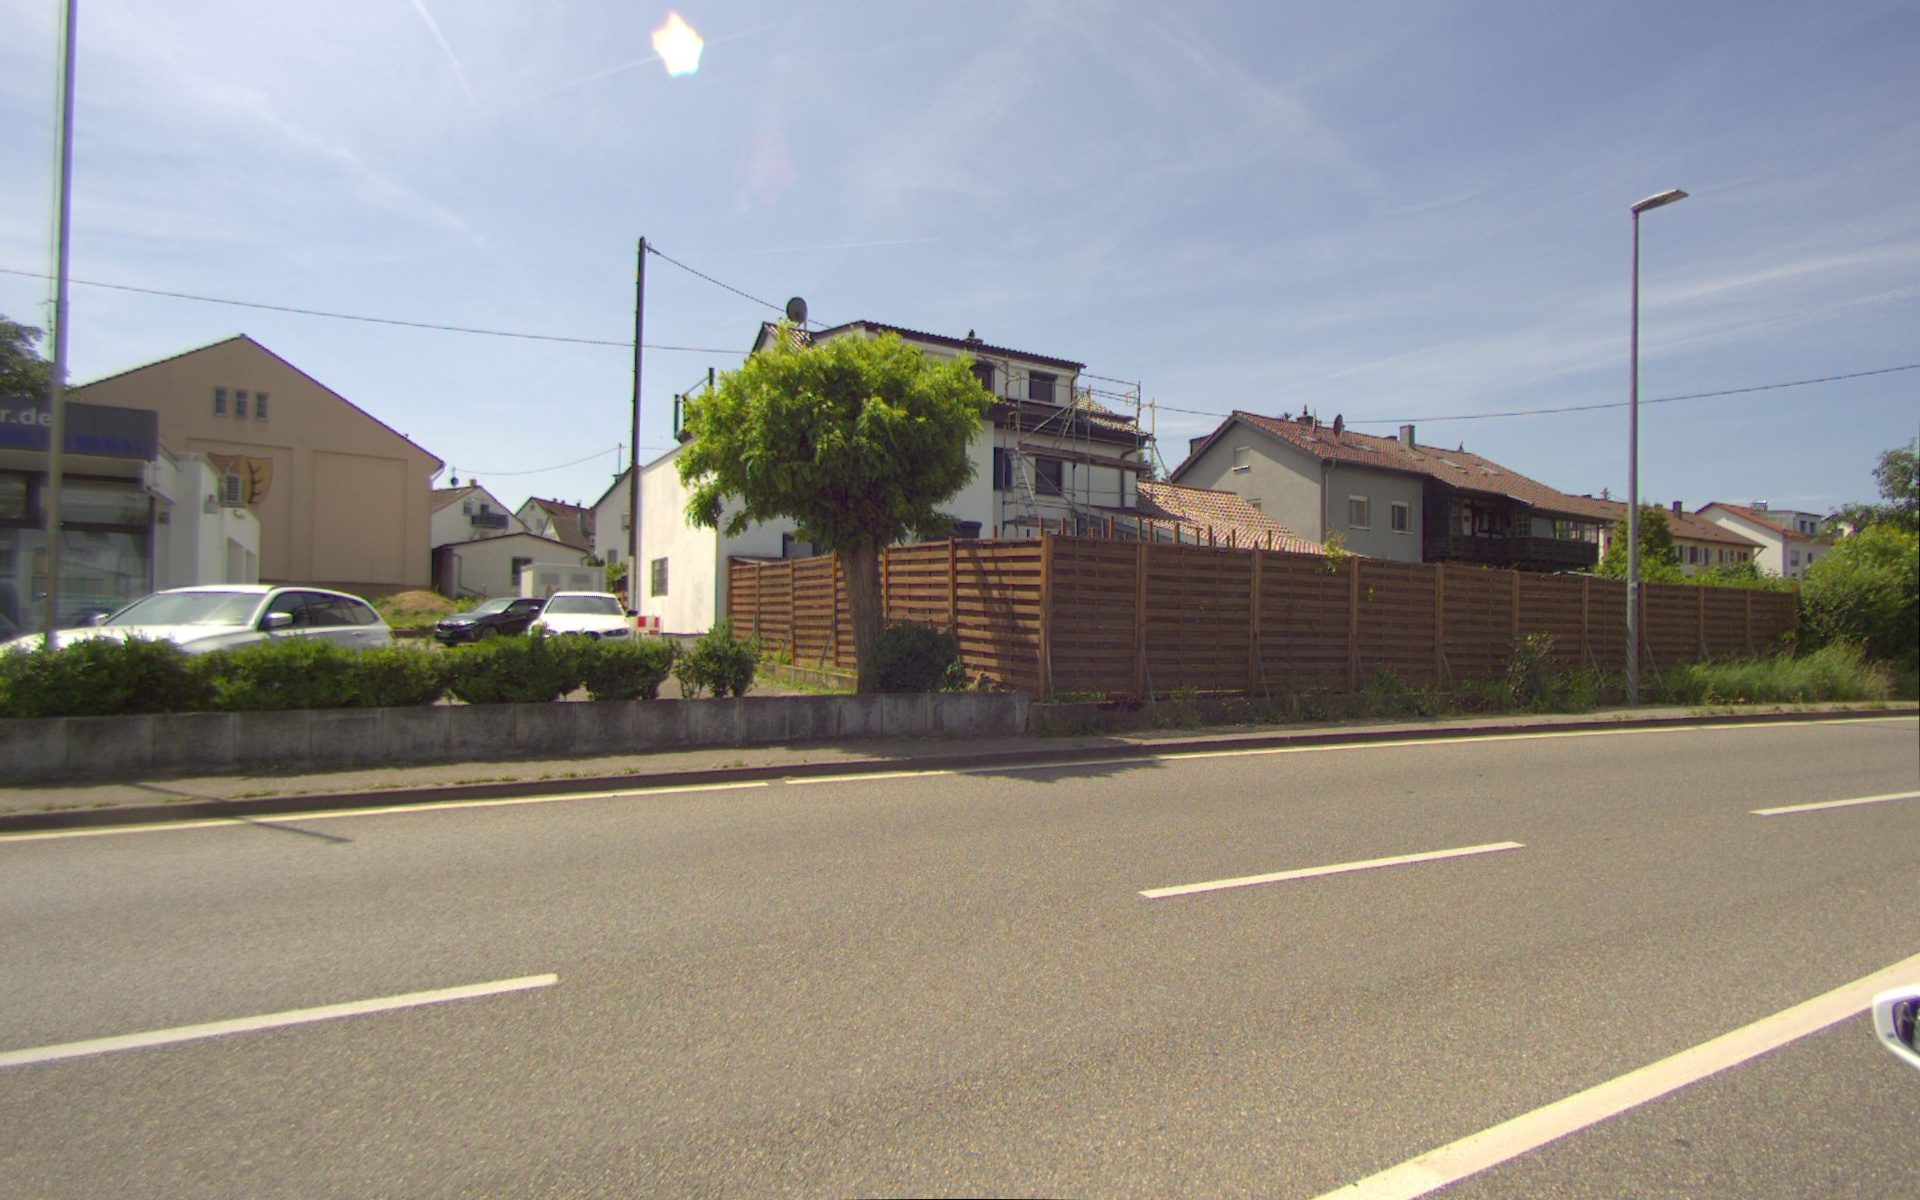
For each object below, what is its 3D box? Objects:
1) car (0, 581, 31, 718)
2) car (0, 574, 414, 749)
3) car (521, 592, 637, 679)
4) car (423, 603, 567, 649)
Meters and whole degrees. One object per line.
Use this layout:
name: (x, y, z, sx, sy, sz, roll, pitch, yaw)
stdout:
car: (-11.126, 0.497, 8.952, 1.863, 1.467, 4.339, 2, 0, -5)
car: (-7.882, 0.543, 10.889, 1.822, 1.467, 4.339, 2, 0, -5)
car: (-7.368, 0.628, 19.741, 1.805, 1.530, 3.985, 1, 0, -17)
car: (-14.387, 0.773, 31.340, 1.756, 1.238, 3.999, 2, 1, 21)
